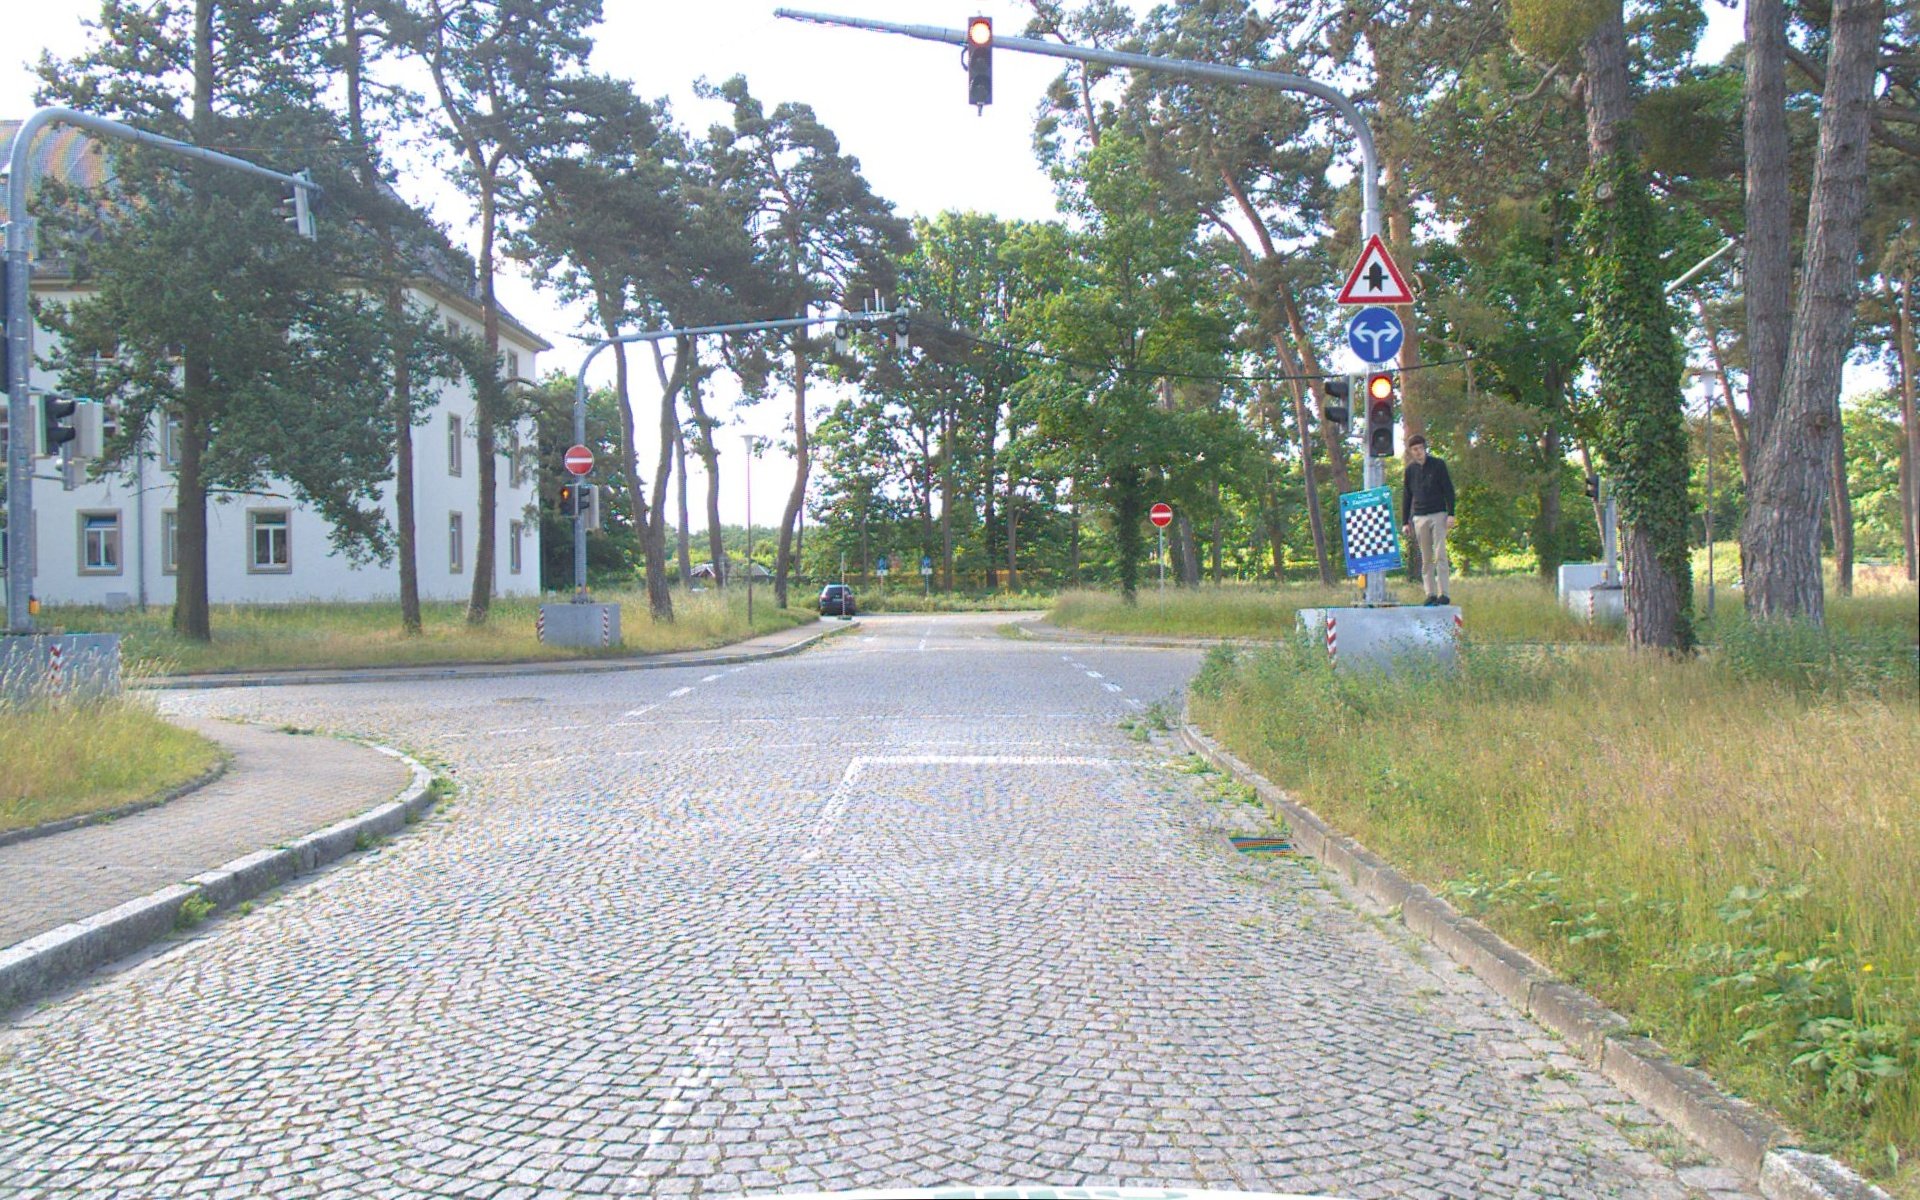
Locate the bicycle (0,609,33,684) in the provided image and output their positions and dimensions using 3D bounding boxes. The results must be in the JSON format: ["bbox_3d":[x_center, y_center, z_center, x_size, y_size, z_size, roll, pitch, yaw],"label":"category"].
[{"bbox_3d":[-16.648,0.788,27.721,1.824,1.242,0.635,-1,1,-1],"label":"bicycle"}]

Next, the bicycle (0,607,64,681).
[{"bbox_3d":[-16.556,0.757,28.437,1.905,1.242,0.635,-1,1,-1],"label":"bicycle"}]

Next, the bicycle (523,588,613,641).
[{"bbox_3d":[-8.466,0.302,35.783,0.623,1.084,1.942,-1,1,38],"label":"bicycle"}]

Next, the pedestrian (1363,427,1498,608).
[{"bbox_3d":[5.021,-0.859,17.632,1.146,1.827,1.061,-1,1,29],"label":"pedestrian"}]

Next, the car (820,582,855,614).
[{"bbox_3d":[-6.272,-0.124,85.203,1.675,1.522,3.917,-1,1,-3],"label":"car"}]

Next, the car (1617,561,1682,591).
[{"bbox_3d":[38.202,-1.313,91.736,1.790,1.609,4.162,-1,1,-1],"label":"car"}]
